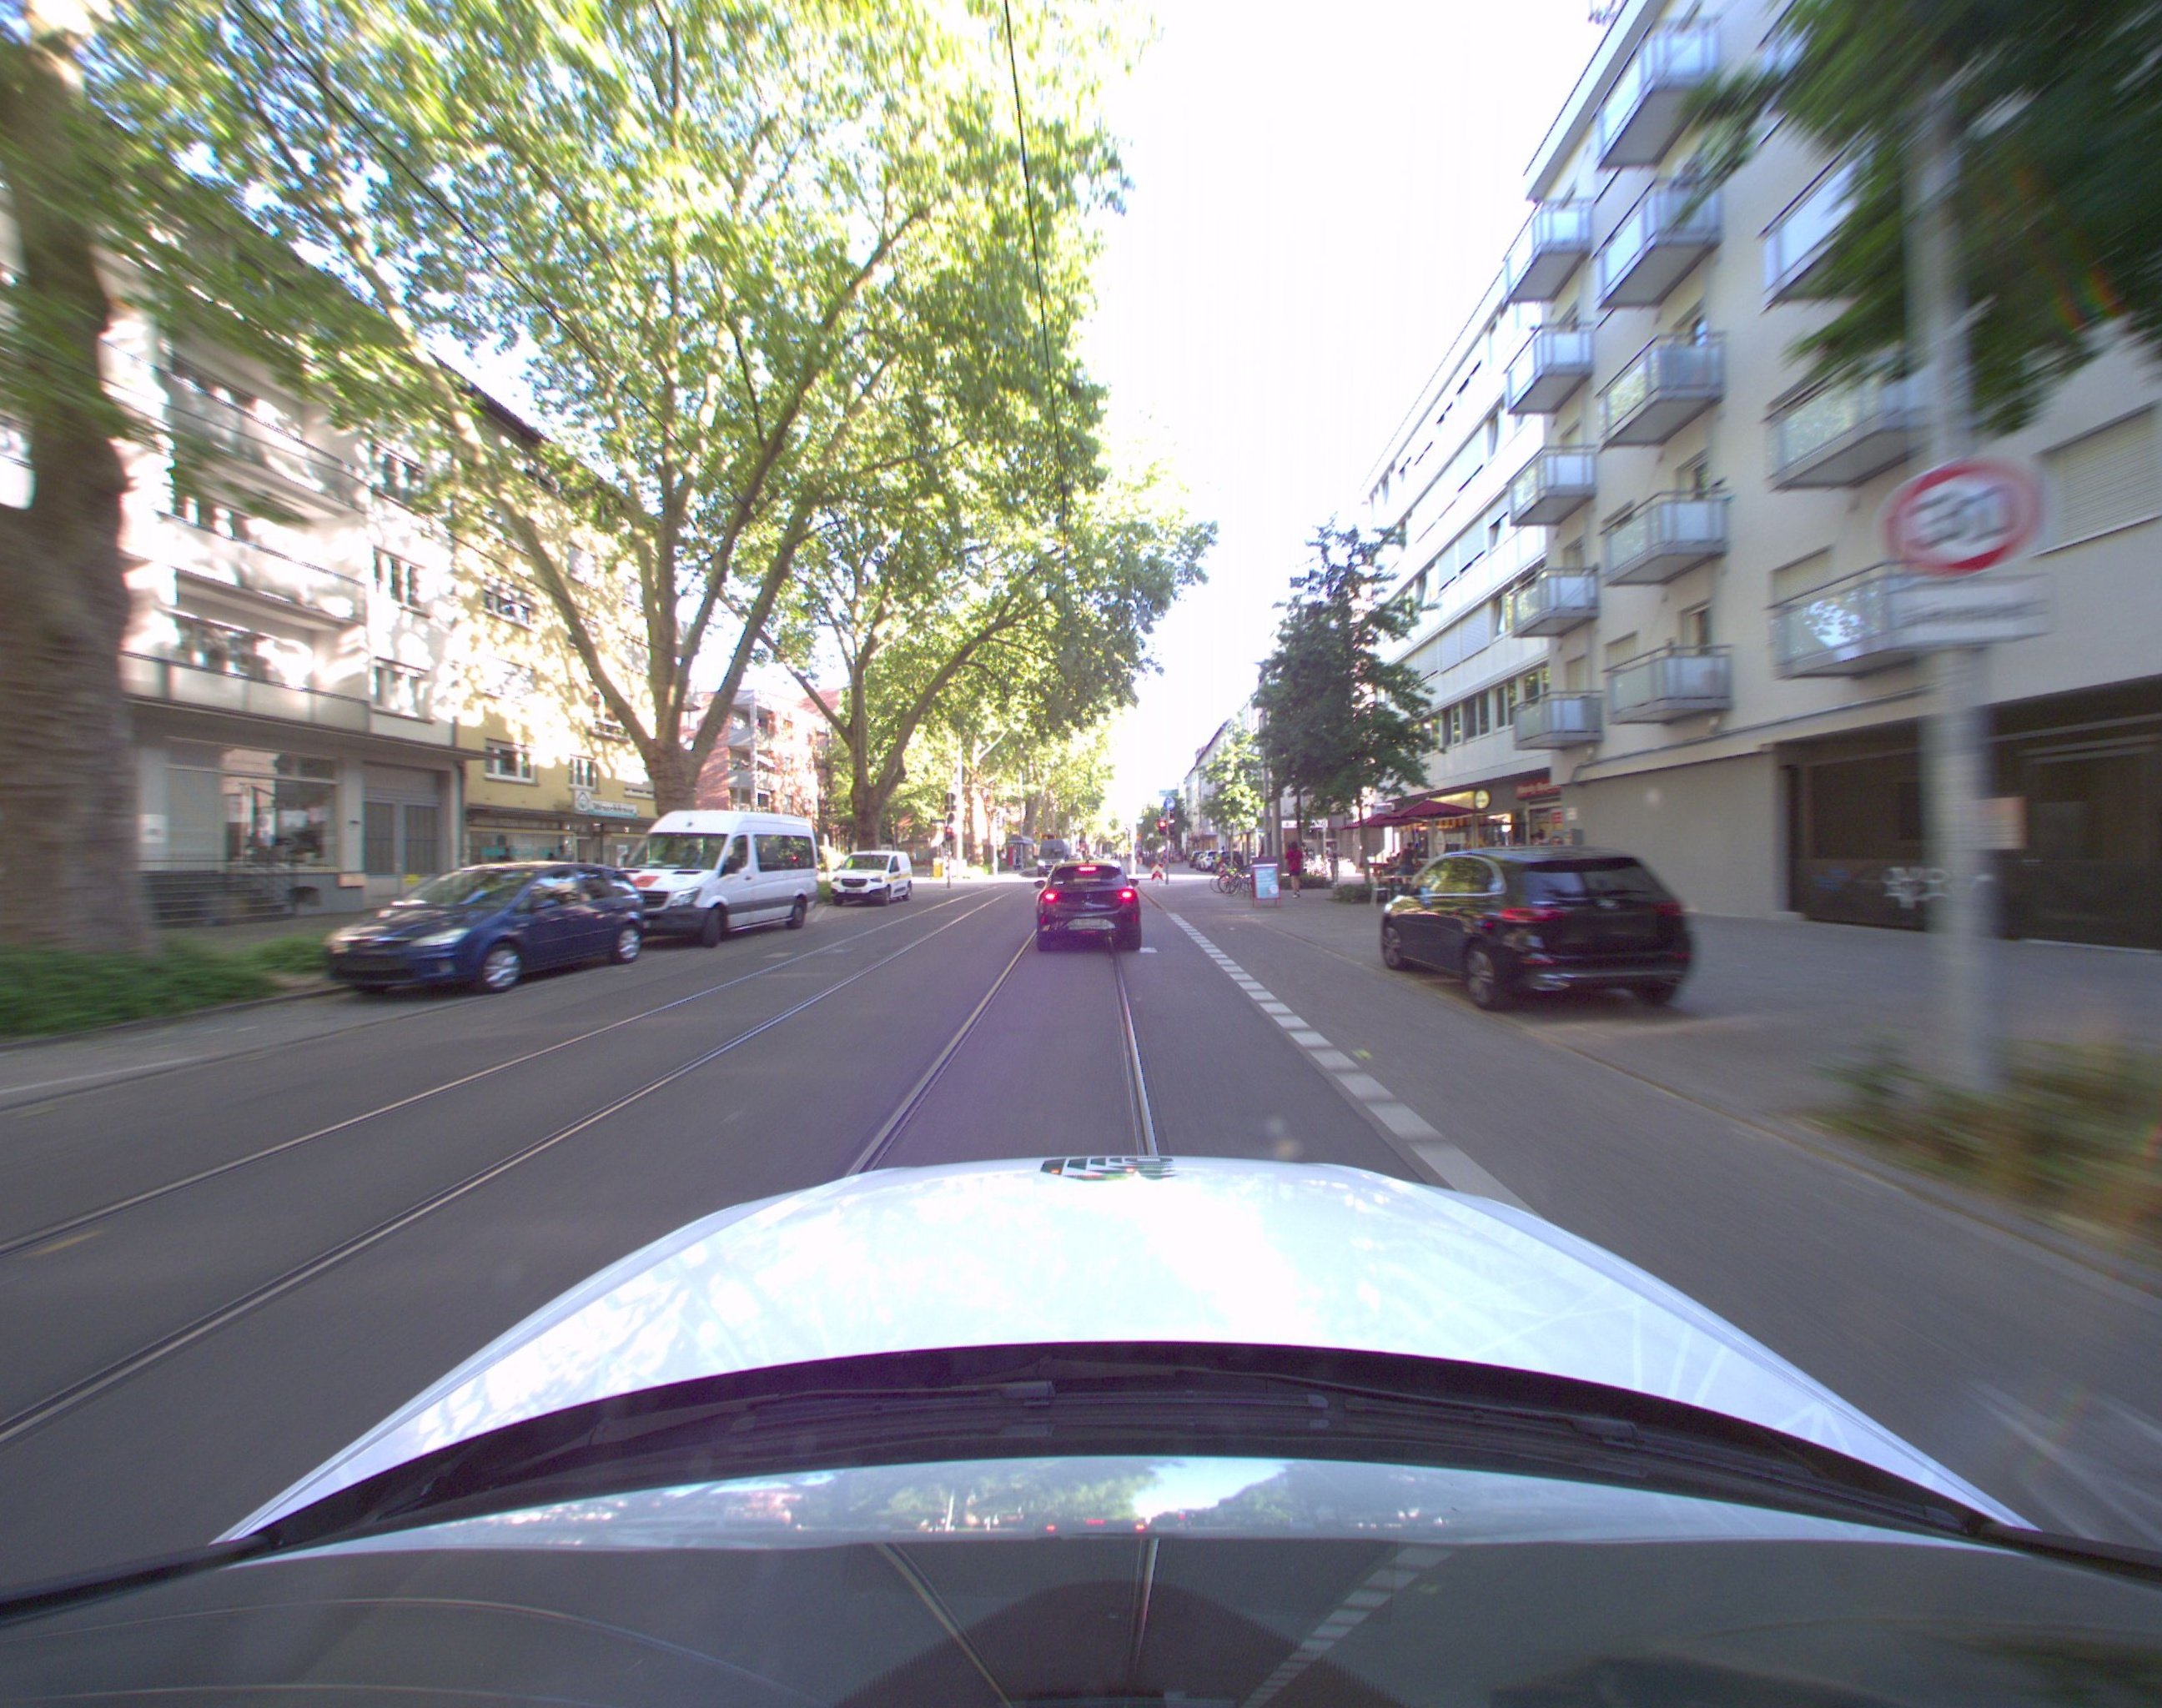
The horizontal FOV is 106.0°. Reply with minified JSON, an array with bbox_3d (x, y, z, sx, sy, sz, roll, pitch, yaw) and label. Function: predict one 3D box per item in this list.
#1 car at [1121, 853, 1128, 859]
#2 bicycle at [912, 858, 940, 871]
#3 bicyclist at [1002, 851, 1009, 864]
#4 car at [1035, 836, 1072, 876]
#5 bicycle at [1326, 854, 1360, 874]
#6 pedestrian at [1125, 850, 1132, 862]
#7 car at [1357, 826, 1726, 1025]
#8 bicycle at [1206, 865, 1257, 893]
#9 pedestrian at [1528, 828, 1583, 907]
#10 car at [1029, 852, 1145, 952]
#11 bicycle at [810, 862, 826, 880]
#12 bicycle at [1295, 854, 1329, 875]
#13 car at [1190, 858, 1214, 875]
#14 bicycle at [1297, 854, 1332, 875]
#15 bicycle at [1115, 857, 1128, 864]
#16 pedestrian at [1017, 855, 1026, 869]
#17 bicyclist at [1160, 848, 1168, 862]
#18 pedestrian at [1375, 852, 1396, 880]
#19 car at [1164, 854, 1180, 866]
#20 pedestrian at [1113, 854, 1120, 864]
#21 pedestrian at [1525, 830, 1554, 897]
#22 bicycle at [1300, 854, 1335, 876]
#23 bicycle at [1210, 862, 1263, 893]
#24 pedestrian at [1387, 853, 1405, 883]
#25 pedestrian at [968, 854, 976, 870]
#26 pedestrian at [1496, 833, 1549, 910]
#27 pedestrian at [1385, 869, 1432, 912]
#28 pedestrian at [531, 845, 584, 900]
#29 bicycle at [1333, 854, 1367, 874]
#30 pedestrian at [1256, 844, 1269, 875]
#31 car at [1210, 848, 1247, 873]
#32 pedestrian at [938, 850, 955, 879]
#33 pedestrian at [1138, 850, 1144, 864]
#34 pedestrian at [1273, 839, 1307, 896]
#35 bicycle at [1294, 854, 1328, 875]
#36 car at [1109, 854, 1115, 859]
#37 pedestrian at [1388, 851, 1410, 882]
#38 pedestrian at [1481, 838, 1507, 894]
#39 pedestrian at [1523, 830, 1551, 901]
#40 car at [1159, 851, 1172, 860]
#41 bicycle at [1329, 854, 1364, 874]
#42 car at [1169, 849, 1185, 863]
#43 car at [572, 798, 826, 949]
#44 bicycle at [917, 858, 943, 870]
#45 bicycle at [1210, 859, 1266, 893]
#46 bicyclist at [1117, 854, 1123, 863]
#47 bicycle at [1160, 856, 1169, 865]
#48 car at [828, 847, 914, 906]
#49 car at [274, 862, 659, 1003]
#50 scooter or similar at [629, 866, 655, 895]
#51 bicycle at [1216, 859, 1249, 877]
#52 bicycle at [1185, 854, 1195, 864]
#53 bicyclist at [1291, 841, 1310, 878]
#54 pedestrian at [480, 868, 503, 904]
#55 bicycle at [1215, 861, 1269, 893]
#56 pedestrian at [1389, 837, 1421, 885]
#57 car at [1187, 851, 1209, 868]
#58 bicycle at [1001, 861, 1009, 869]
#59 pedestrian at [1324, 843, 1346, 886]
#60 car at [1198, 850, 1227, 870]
[{"bbox_3d":[11.393,0.513,212.723,1.739,1.544,4.001,0,-1,1],"label":"car"},{"bbox_3d":[-14.767,0.979,77.703,2.447,1.219,0.682,1,-1,3],"label":"bicycle"},{"bbox_3d":[-9.789,0.474,105.107,0.772,1.750,0.997,0,-1,1],"label":"bicyclist"},{"bbox_3d":[-1.987,0.153,60.098,2.105,2.738,6.119,-2,-1,3],"label":"car"},{"bbox_3d":[15.999,0.595,49.758,1.908,1.208,0.511,0,-1,-1],"label":"bicycle"},{"bbox_3d":[6.687,0.268,114.449,0.742,1.709,0.768,-1,-1,37],"label":"pedestrian"},{"bbox_3d":[4.688,0.625,9.171,1.752,1.587,4.331,-4,-1,2],"label":"car"},{"bbox_3d":[5.534,0.915,30.011,1.809,0.994,0.481,0,-1,0],"label":"bicycle"},{"bbox_3d":[10.535,0.304,18.117,0.594,1.678,0.934,-3,-1,0],"label":"pedestrian"},{"bbox_3d":[0.126,0.754,14.368,1.753,1.508,3.683,-1,-1,1],"label":"car"},{"bbox_3d":[-17.644,1.121,54.651,0.539,1.084,1.538,0,2,2],"label":"bicycle"},{"bbox_3d":[13.876,0.639,48.933,1.908,1.207,0.511,-1,0,-1],"label":"bicycle"},{"bbox_3d":[10.630,1.092,71.798,1.736,1.440,4.250,0,-1,3],"label":"car"},{"bbox_3d":[13.871,0.625,48.398,1.908,1.207,0.511,-2,1,-1],"label":"bicycle"},{"bbox_3d":[7.524,1.270,151.310,2.474,1.240,0.957,0,-1,-3],"label":"bicycle"},{"bbox_3d":[-5.107,0.707,69.600,0.703,1.168,0.659,-2,-1,0],"label":"pedestrian"},{"bbox_3d":[10.514,0.158,102.634,0.859,1.759,1.052,0,-1,-3],"label":"bicyclist"},{"bbox_3d":[12.128,0.472,32.415,0.639,1.079,0.522,0,-1,1],"label":"pedestrian"},{"bbox_3d":[13.639,0.957,122.243,1.986,1.797,4.002,0,-1,2],"label":"car"},{"bbox_3d":[6.549,0.967,148.724,1.161,1.748,0.957,0,-1,-3],"label":"pedestrian"},{"bbox_3d":[12.441,0.255,22.116,0.635,1.805,0.520,1,-1,-44],"label":"pedestrian"},{"bbox_3d":[13.878,0.642,47.855,1.908,1.207,0.511,-2,1,-1],"label":"bicycle"},{"bbox_3d":[5.563,0.822,29.136,1.812,1.100,0.497,0,-1,-6],"label":"bicycle"},{"bbox_3d":[13.593,0.585,35.181,0.533,1.287,0.716,0,-1,4],"label":"pedestrian"},{"bbox_3d":[-11.788,0.893,88.005,0.732,1.672,0.861,0,-1,3],"label":"pedestrian"},{"bbox_3d":[9.799,0.370,18.109,0.639,1.637,0.870,-3,0,1],"label":"pedestrian"},{"bbox_3d":[8.048,0.895,20.056,0.991,1.027,0.663,0,-1,14],"label":"pedestrian"},{"bbox_3d":[-17.919,0.625,27.892,1.103,1.864,1.058,0,-1,-1],"label":"pedestrian"},{"bbox_3d":[16.008,0.589,48.481,1.908,1.207,0.511,0,1,-1],"label":"bicycle"},{"bbox_3d":[9.198,0.276,41.242,0.548,1.562,0.646,0,-2,7],"label":"pedestrian"},{"bbox_3d":[10.401,0.465,57.825,1.985,1.615,4.448,-3,-1,3],"label":"car"},{"bbox_3d":[-8.537,0.657,51.574,0.921,1.835,0.920,0,2,-1],"label":"pedestrian"},{"bbox_3d":[7.060,0.380,95.291,0.628,1.576,0.871,1,0,3],"label":"pedestrian"},{"bbox_3d":[6.565,0.419,25.530,0.867,1.758,1.054,0,-1,24],"label":"pedestrian"},{"bbox_3d":[13.949,0.618,49.487,1.908,1.207,0.511,-1,0,-1],"label":"bicycle"},{"bbox_3d":[8.948,0.713,235.128,1.739,1.544,4.001,0,-1,1],"label":"car"},{"bbox_3d":[12.154,0.459,31.146,0.656,1.175,0.522,0,-1,1],"label":"pedestrian"},{"bbox_3d":[12.152,0.352,23.974,0.510,1.628,0.512,1,-1,-35],"label":"pedestrian"},{"bbox_3d":[11.806,0.294,21.087,0.430,1.796,0.489,0,-1,1],"label":"pedestrian"},{"bbox_3d":[13.991,0.324,134.410,1.985,1.486,4.003,0,-1,3],"label":"car"},{"bbox_3d":[15.999,0.584,49.094,1.908,1.208,0.511,0,-1,-1],"label":"bicycle"},{"bbox_3d":[13.595,0.299,115.499,1.986,1.952,4.002,0,-1,2],"label":"car"},{"bbox_3d":[-7.525,0.361,17.027,2.098,2.577,6.030,0,-1,4],"label":"car"},{"bbox_3d":[-14.546,0.946,78.568,2.330,1.166,0.682,1,-1,3],"label":"bicycle"},{"bbox_3d":[5.345,0.746,27.775,1.808,1.100,0.525,-1,-1,1],"label":"bicycle"},{"bbox_3d":[7.222,0.817,151.300,1.161,1.748,0.957,0,-1,-3],"label":"bicyclist"},{"bbox_3d":[10.514,0.824,102.710,0.859,1.136,2.393,0,-1,-3],"label":"bicycle"},{"bbox_3d":[-7.072,0.720,27.859,1.757,1.851,4.319,0,-1,1],"label":"car"},{"bbox_3d":[-7.921,0.887,11.165,1.909,1.562,4.286,0,-1,2],"label":"car"},{"bbox_3d":[-17.535,1.050,32.530,0.636,1.167,0.679,0,-1,29],"label":"scooter or similar"},{"bbox_3d":[10.146,0.941,54.481,2.113,1.187,0.683,0,-1,11],"label":"bicycle"},{"bbox_3d":[13.494,0.635,101.246,0.621,1.136,2.432,0,-1,-8],"label":"bicycle"},{"bbox_3d":[10.348,0.269,38.391,0.673,1.717,0.966,0,-1,5],"label":"bicyclist"},{"bbox_3d":[-18.475,0.995,25.513,0.419,1.106,0.436,0,-1,-7],"label":"pedestrian"},{"bbox_3d":[5.634,0.791,28.587,1.812,1.100,0.480,0,-1,-6],"label":"bicycle"},{"bbox_3d":[11.428,0.252,28.736,0.810,1.659,0.678,0,-1,-3],"label":"pedestrian"},{"bbox_3d":[11.599,0.530,81.020,1.849,1.615,4.401,0,-1,3],"label":"car"},{"bbox_3d":[-9.806,1.414,105.208,0.780,1.111,2.596,0,-1,0],"label":"bicycle"},{"bbox_3d":[10.591,0.444,33.984,0.588,1.784,0.995,0,-1,1],"label":"pedestrian"},{"bbox_3d":[10.500,0.484,65.225,1.792,1.606,4.418,0,-1,3],"label":"car"}]
